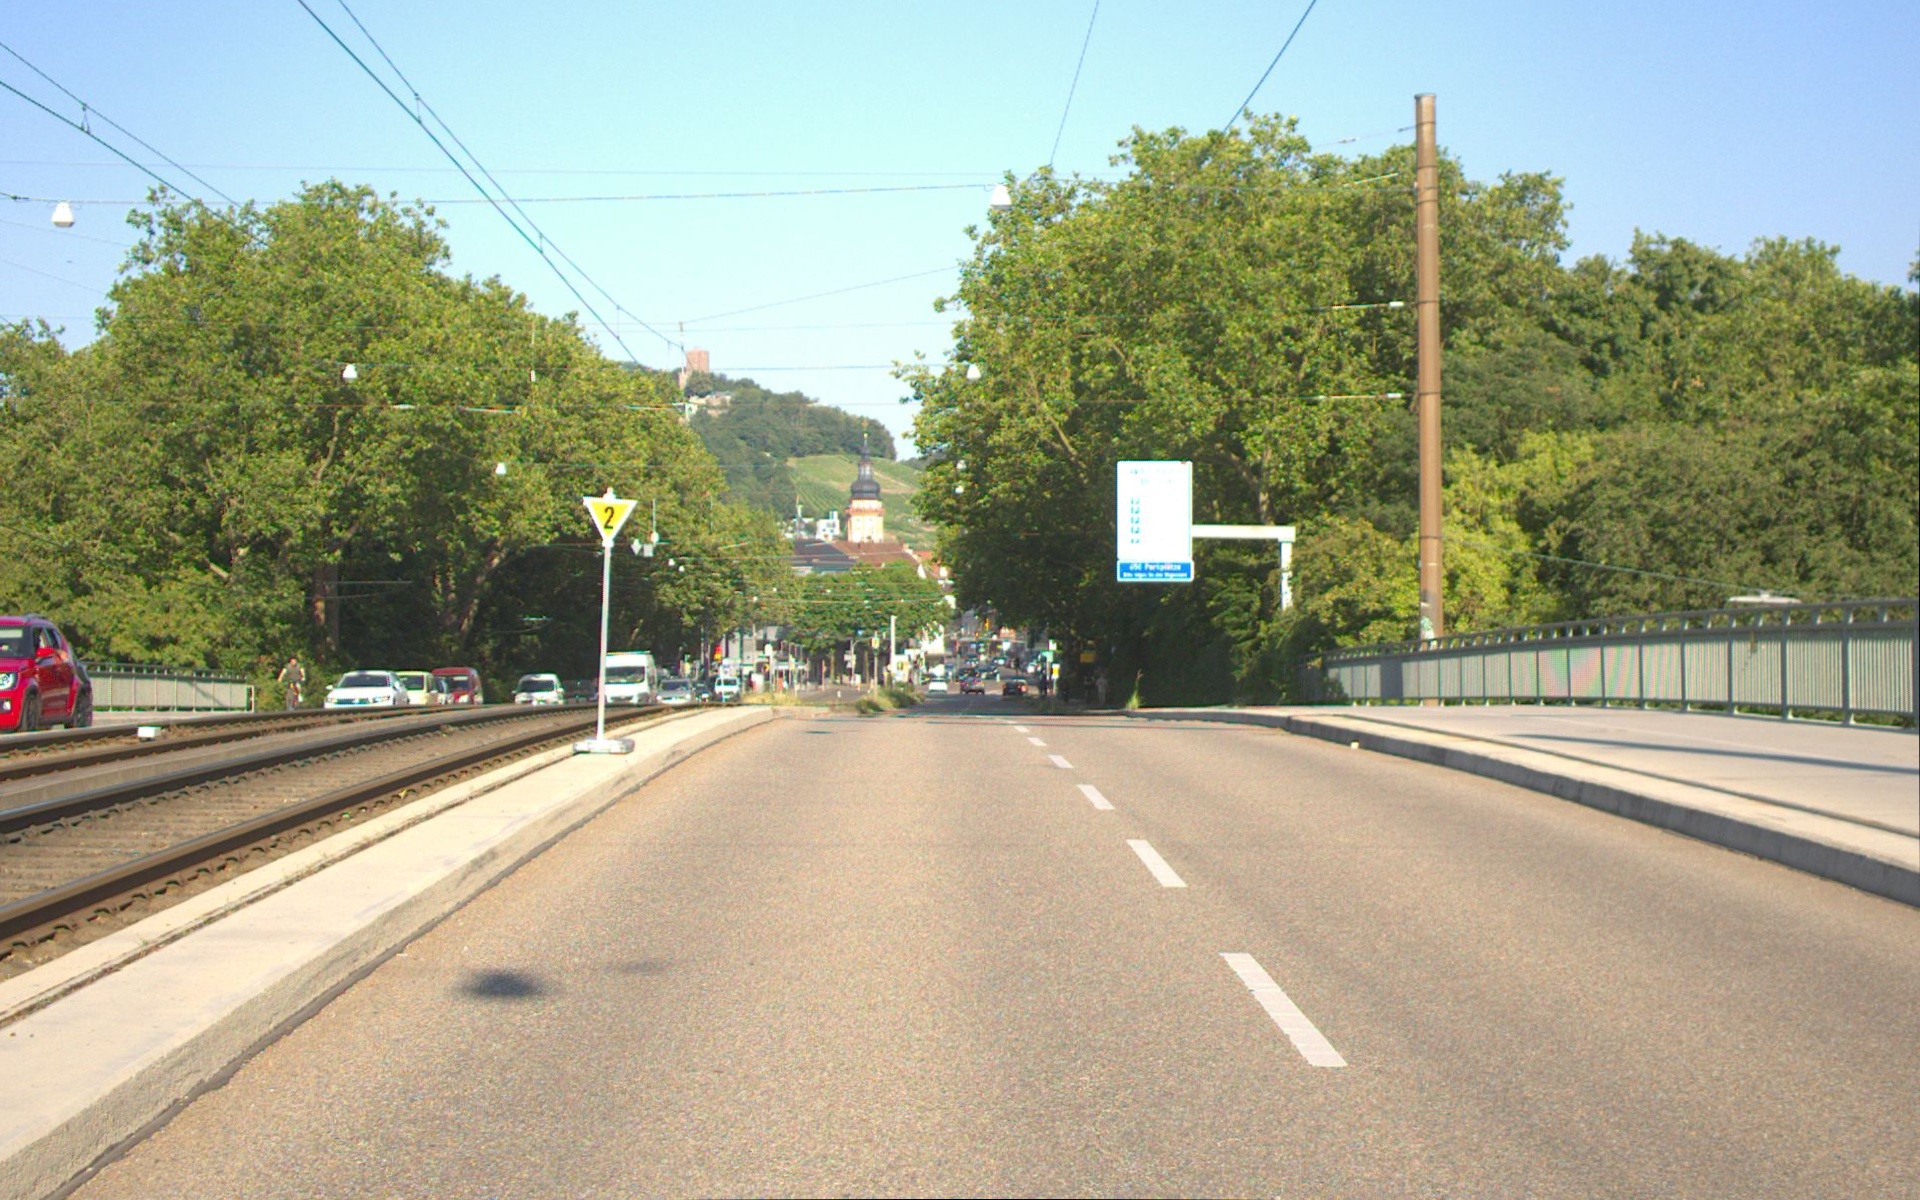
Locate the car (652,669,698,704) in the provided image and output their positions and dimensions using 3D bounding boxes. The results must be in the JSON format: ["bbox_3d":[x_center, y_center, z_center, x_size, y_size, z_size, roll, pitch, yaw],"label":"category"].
[{"bbox_3d":[-13.968,4.237,168.853,1.873,1.660,4.596,-1,-1,0],"label":"car"}]

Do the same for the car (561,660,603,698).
[{"bbox_3d":[-16.824,3.515,153.101,1.741,1.631,4.000,-1,-1,-5],"label":"car"}]

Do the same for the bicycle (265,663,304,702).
[{"bbox_3d":[-19.287,2.354,98.167,0.679,1.094,2.100,2,-1,0],"label":"bicycle"}]

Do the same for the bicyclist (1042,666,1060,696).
[{"bbox_3d":[5.349,4.763,202.742,0.887,1.769,1.222,0,-2,-6],"label":"bicyclist"}]

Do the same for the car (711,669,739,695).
[{"bbox_3d":[-17.331,6.041,253.990,1.993,1.838,5.302,2,-1,-4],"label":"car"}]

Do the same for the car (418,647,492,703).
[{"bbox_3d":[-16.105,2.389,109.806,1.741,1.748,4.684,0,-1,-1],"label":"car"}]

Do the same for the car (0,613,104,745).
[{"bbox_3d":[-11.760,0.960,41.643,1.808,1.514,4.000,1,-2,-1],"label":"car"}]

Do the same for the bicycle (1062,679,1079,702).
[{"bbox_3d":[6.353,5.201,198.295,0.887,1.317,2.639,-1,-1,0],"label":"bicycle"}]

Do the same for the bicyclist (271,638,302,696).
[{"bbox_3d":[-19.275,1.916,98.385,0.679,1.621,0.890,2,-1,0],"label":"bicyclist"}]

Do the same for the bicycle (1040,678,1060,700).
[{"bbox_3d":[5.318,5.244,202.857,0.887,1.317,2.640,0,-1,-5],"label":"bicycle"}]

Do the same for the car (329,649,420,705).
[{"bbox_3d":[-15.830,2.066,93.185,1.741,1.459,4.956,0,-1,-2],"label":"car"}]

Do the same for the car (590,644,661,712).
[{"bbox_3d":[-13.357,3.110,137.694,2.086,2.584,6.040,-1,-1,1],"label":"car"}]

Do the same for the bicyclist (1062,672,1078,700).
[{"bbox_3d":[6.352,4.958,198.401,0.887,1.633,1.164,-1,-2,0],"label":"bicyclist"}]

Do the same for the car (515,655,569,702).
[{"bbox_3d":[-16.746,3.118,137.911,1.741,1.737,4.514,-3,-1,-3],"label":"car"}]

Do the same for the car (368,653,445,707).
[{"bbox_3d":[-15.920,2.281,99.048,1.633,1.526,3.790,0,-1,-1],"label":"car"}]
